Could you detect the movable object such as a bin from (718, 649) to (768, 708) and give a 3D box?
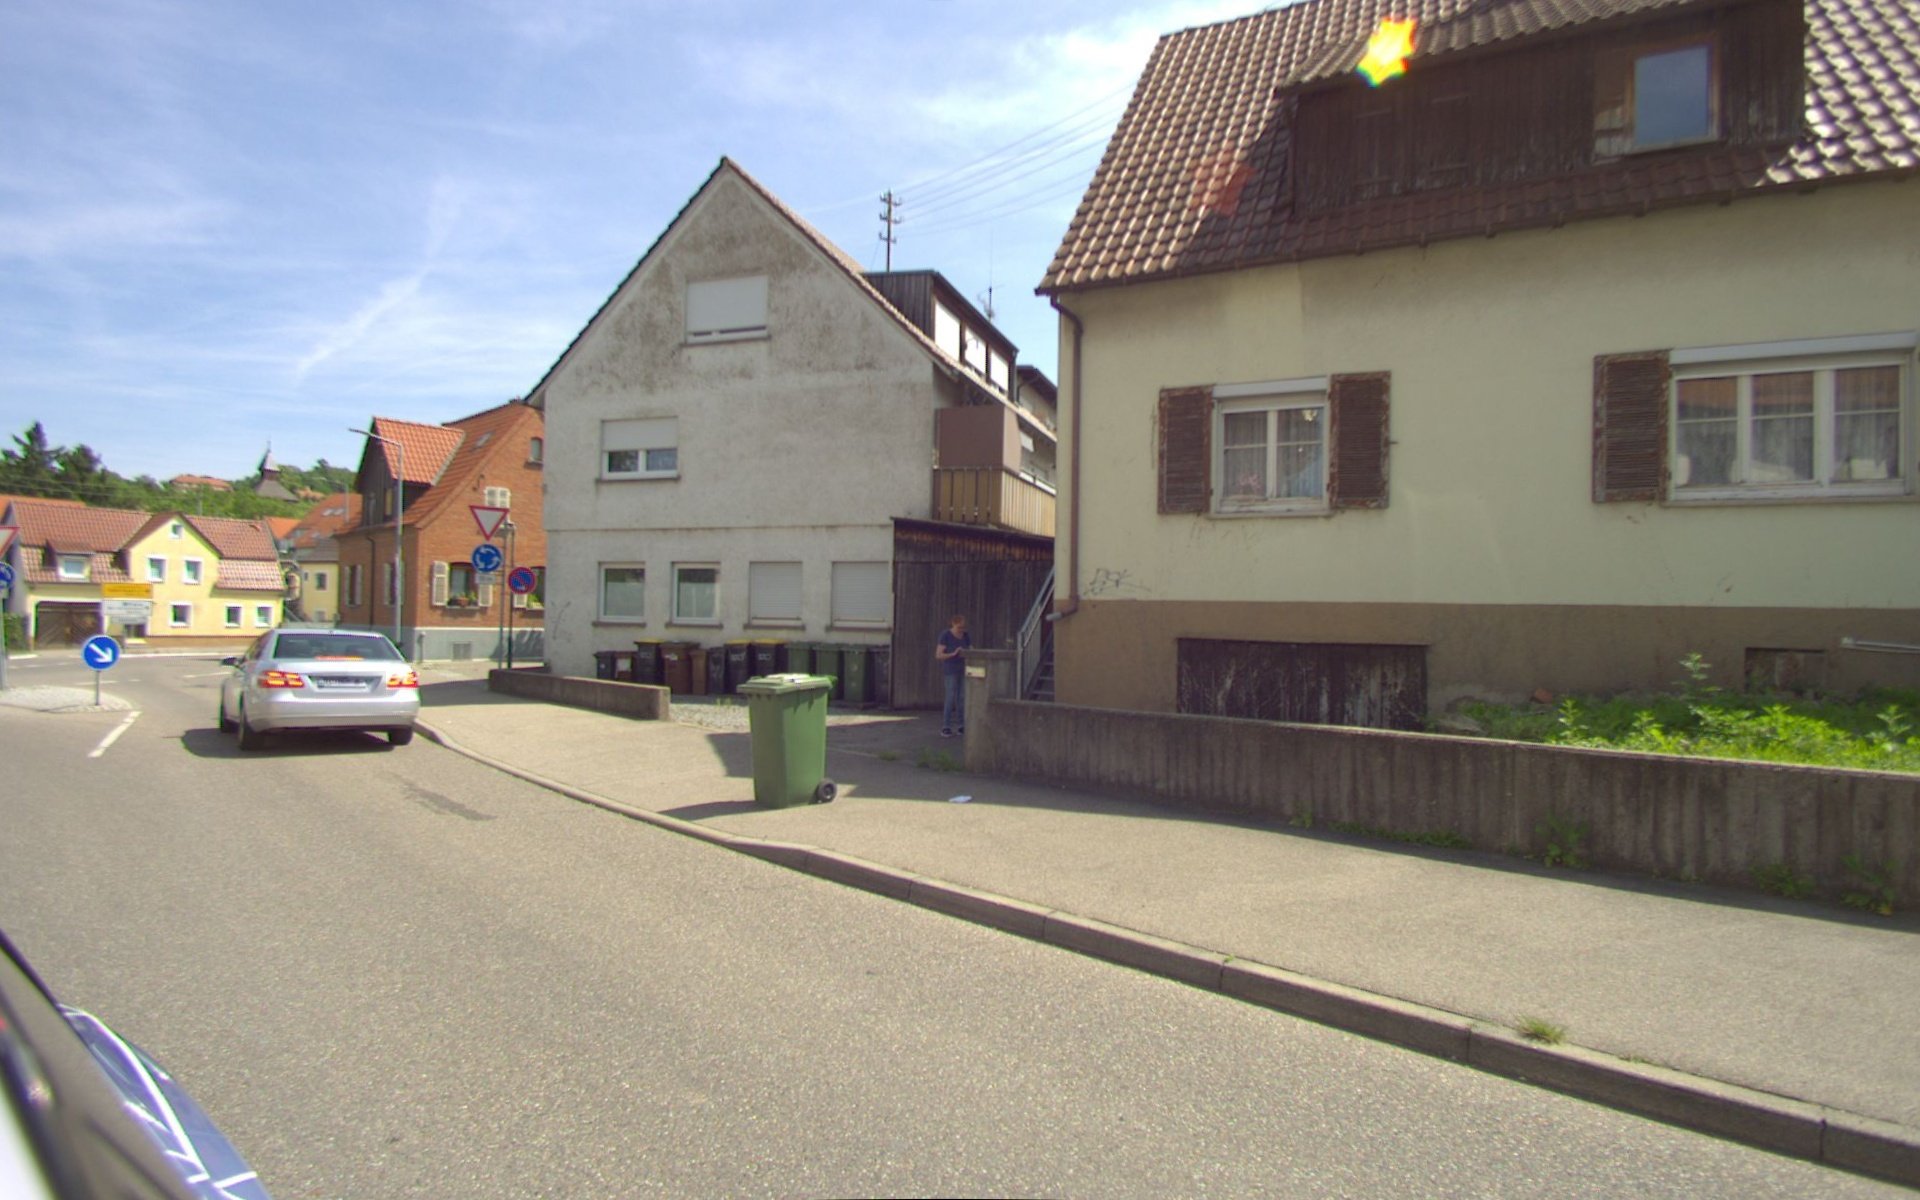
[{"bbox_3d":[-4.228,1.520,19.731,0.692,1.090,0.681,-1,-1,18],"label":"movable object such as a bin"}]

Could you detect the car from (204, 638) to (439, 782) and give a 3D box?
[{"bbox_3d":[-8.515,1.279,13.309,1.931,1.497,4.465,1,-2,-41],"label":"car"}]

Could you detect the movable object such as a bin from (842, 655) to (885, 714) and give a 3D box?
[{"bbox_3d":[-1.798,1.569,18.907,0.599,1.043,0.626,-1,-1,18],"label":"movable object such as a bin"}]

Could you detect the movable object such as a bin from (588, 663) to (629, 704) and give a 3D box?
[{"bbox_3d":[-7.302,1.730,21.023,0.641,0.811,0.484,-1,-1,18],"label":"movable object such as a bin"}]

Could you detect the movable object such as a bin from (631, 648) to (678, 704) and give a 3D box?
[{"bbox_3d":[-6.203,1.529,20.538,0.639,1.094,0.681,-1,-1,18],"label":"movable object such as a bin"}]

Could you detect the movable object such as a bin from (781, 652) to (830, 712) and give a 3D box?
[{"bbox_3d":[-2.945,1.558,19.349,0.655,1.090,0.737,-1,-1,18],"label":"movable object such as a bin"}]

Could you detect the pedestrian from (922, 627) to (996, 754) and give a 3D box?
[{"bbox_3d":[-0.011,1.154,13.272,0.626,1.586,0.770,-2,-2,36],"label":"pedestrian"}]

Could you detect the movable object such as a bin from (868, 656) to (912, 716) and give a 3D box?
[{"bbox_3d":[-1.279,1.559,18.509,0.608,1.042,0.627,-1,-1,18],"label":"movable object such as a bin"}]

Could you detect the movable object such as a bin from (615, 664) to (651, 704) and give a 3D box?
[{"bbox_3d":[-6.730,1.714,20.825,0.523,0.786,0.484,-1,-1,18],"label":"movable object such as a bin"}]

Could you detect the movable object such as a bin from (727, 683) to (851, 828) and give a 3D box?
[{"bbox_3d":[-1.411,1.251,8.387,0.650,1.065,0.783,-2,-2,41],"label":"movable object such as a bin"}]

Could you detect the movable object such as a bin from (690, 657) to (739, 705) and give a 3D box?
[{"bbox_3d":[-4.872,1.589,20.101,0.692,0.903,0.681,-1,-1,18],"label":"movable object such as a bin"}]

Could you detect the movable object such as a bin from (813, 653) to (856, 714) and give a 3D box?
[{"bbox_3d":[-2.359,1.568,19.110,0.579,1.090,0.676,-1,-1,18],"label":"movable object such as a bin"}]

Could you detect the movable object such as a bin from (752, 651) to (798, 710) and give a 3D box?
[{"bbox_3d":[-3.574,1.535,19.572,0.620,1.090,0.681,-1,-1,18],"label":"movable object such as a bin"}]

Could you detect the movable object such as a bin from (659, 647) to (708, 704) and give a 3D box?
[{"bbox_3d":[-5.552,1.511,20.319,0.692,1.094,0.681,-1,-1,18],"label":"movable object such as a bin"}]
